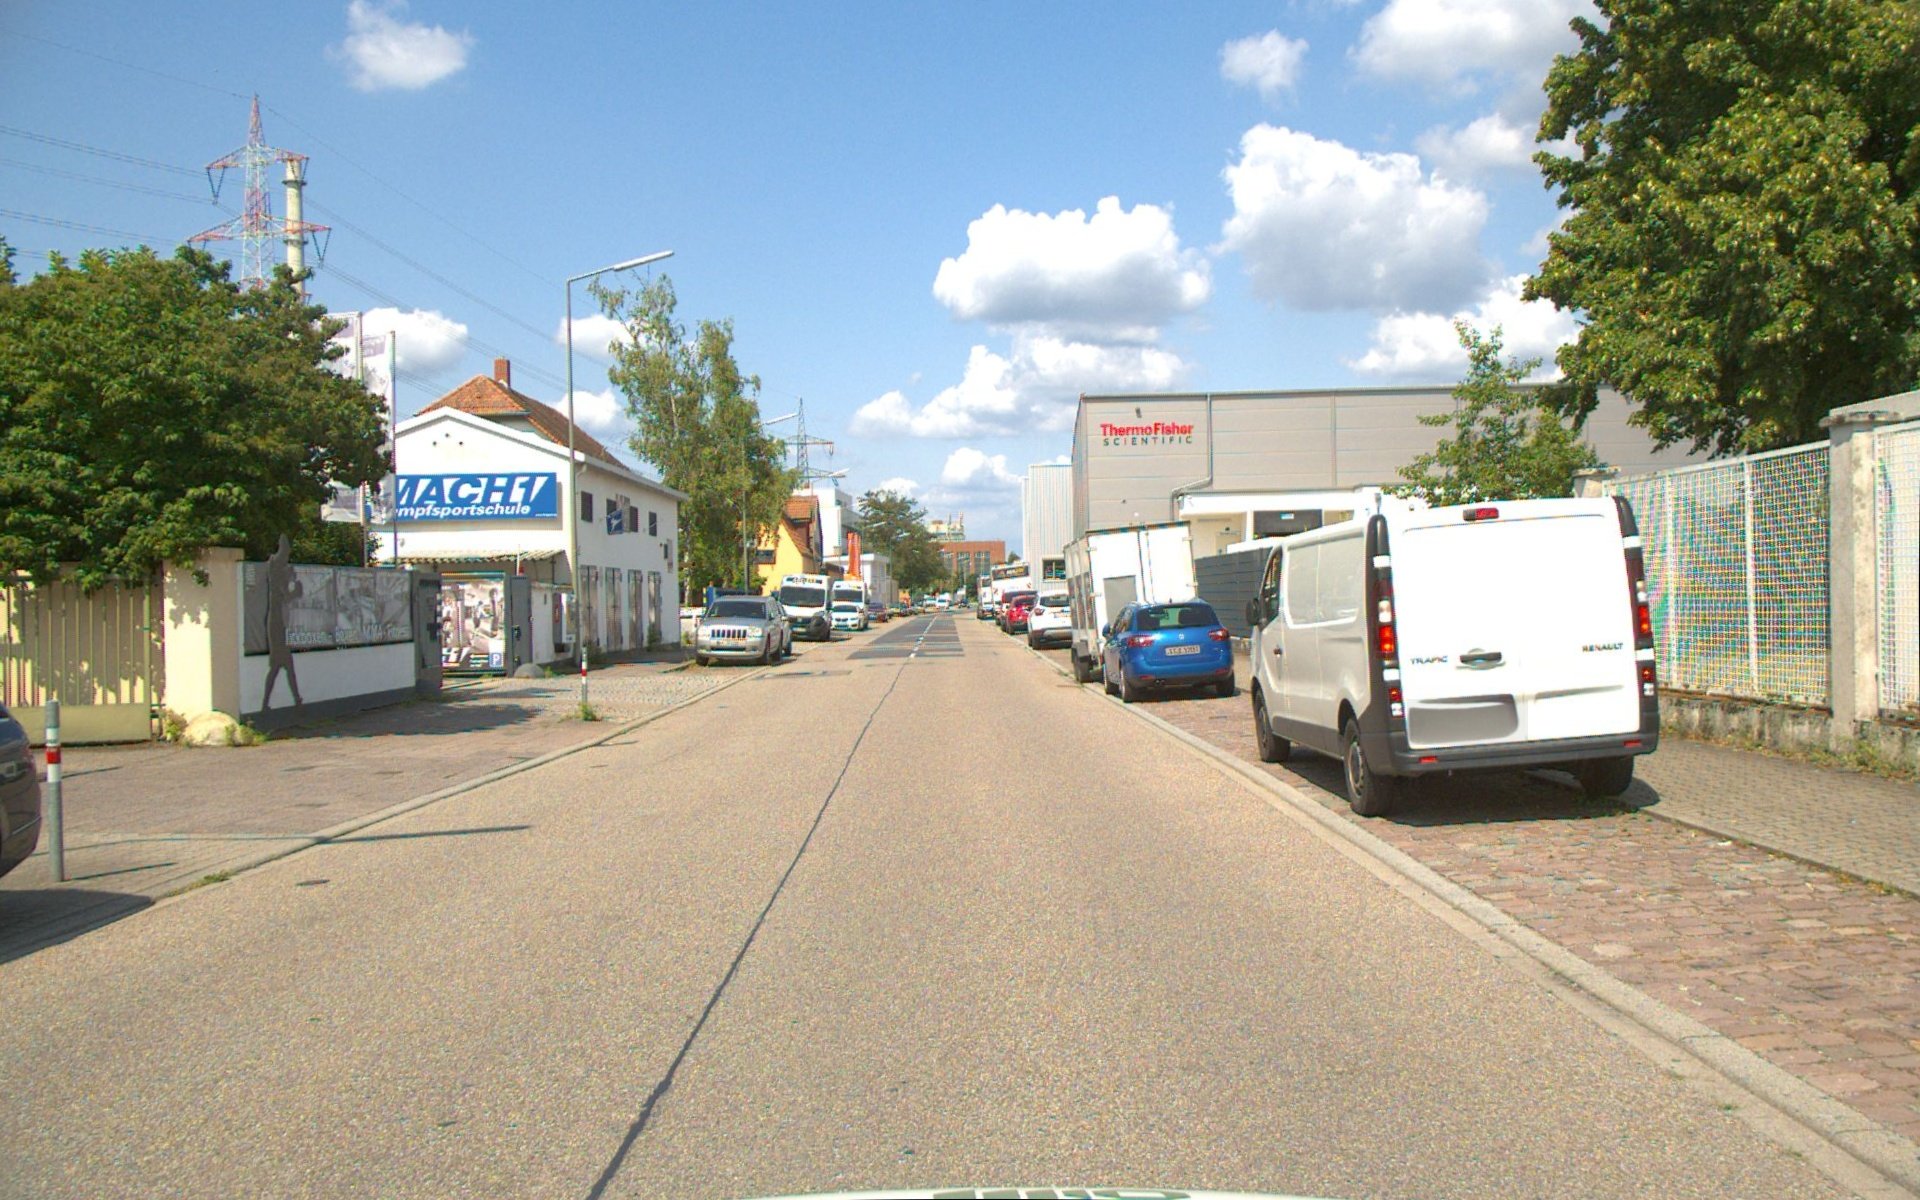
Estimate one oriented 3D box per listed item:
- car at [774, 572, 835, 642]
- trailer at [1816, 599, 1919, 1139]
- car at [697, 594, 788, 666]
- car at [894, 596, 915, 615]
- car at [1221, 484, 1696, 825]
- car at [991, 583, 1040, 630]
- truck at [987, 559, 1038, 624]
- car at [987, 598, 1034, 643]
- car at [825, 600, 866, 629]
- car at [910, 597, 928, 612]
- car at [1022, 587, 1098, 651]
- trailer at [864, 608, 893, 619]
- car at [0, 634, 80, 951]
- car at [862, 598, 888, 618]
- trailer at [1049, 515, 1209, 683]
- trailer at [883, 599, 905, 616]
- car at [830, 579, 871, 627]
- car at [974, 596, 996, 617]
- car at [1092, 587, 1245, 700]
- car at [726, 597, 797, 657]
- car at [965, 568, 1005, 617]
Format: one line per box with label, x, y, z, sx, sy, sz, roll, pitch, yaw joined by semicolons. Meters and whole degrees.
car;-6.111;0.280;65.798;1.989;2.602;6.654;1;-1;-2
trailer;3.580;0.640;2.581;1.715;1.442;4.544;-4;0;-6
car;-5.598;0.745;43.085;1.754;1.749;4.751;1;0;0
car;-6.002;0.599;179.748;1.952;2.049;4.001;0;-1;2
car;3.540;0.343;13.090;1.953;2.049;5.648;-2;0;-1
car;2.542;0.272;77.095;2.012;1.936;5.147;-5;0;1
truck;2.949;-0.473;94.613;2.409;3.349;6.817;-6;0;0
car;2.081;0.846;68.921;1.670;1.652;4.091;-4;0;-1
car;-5.882;0.755;85.548;1.759;1.422;4.502;0;-1;1
car;-5.012;0.593;203.241;1.882;1.825;4.001;0;-1;2
car;2.989;0.547;50.511;1.896;1.723;4.679;-4;0;-1
trailer;-7.024;1.154;143.158;2.314;0.908;5.568;1;0;0
car;-5.257;0.889;6.045;1.769;1.443;4.495;0;0;-2
car;-6.372;0.638;124.350;1.726;1.473;4.740;1;-1;0
trailer;3.121;0.006;32.017;2.160;2.784;6.220;-4;0;-1
trailer;-6.543;0.740;164.382;1.953;1.584;4.253;-1;0;0
car;-6.115;0.201;92.818;1.986;2.606;6.837;0;-1;-1
car;2.093;0.564;138.217;1.732;1.640;3.873;-1;-1;1
car;3.112;0.635;25.390;1.656;1.486;4.069;-4;0;-2
car;-5.730;0.759;48.047;1.576;1.601;3.010;2;0;1
car;1.876;-0.538;125.606;2.341;3.421;6.640;-4;0;-3
